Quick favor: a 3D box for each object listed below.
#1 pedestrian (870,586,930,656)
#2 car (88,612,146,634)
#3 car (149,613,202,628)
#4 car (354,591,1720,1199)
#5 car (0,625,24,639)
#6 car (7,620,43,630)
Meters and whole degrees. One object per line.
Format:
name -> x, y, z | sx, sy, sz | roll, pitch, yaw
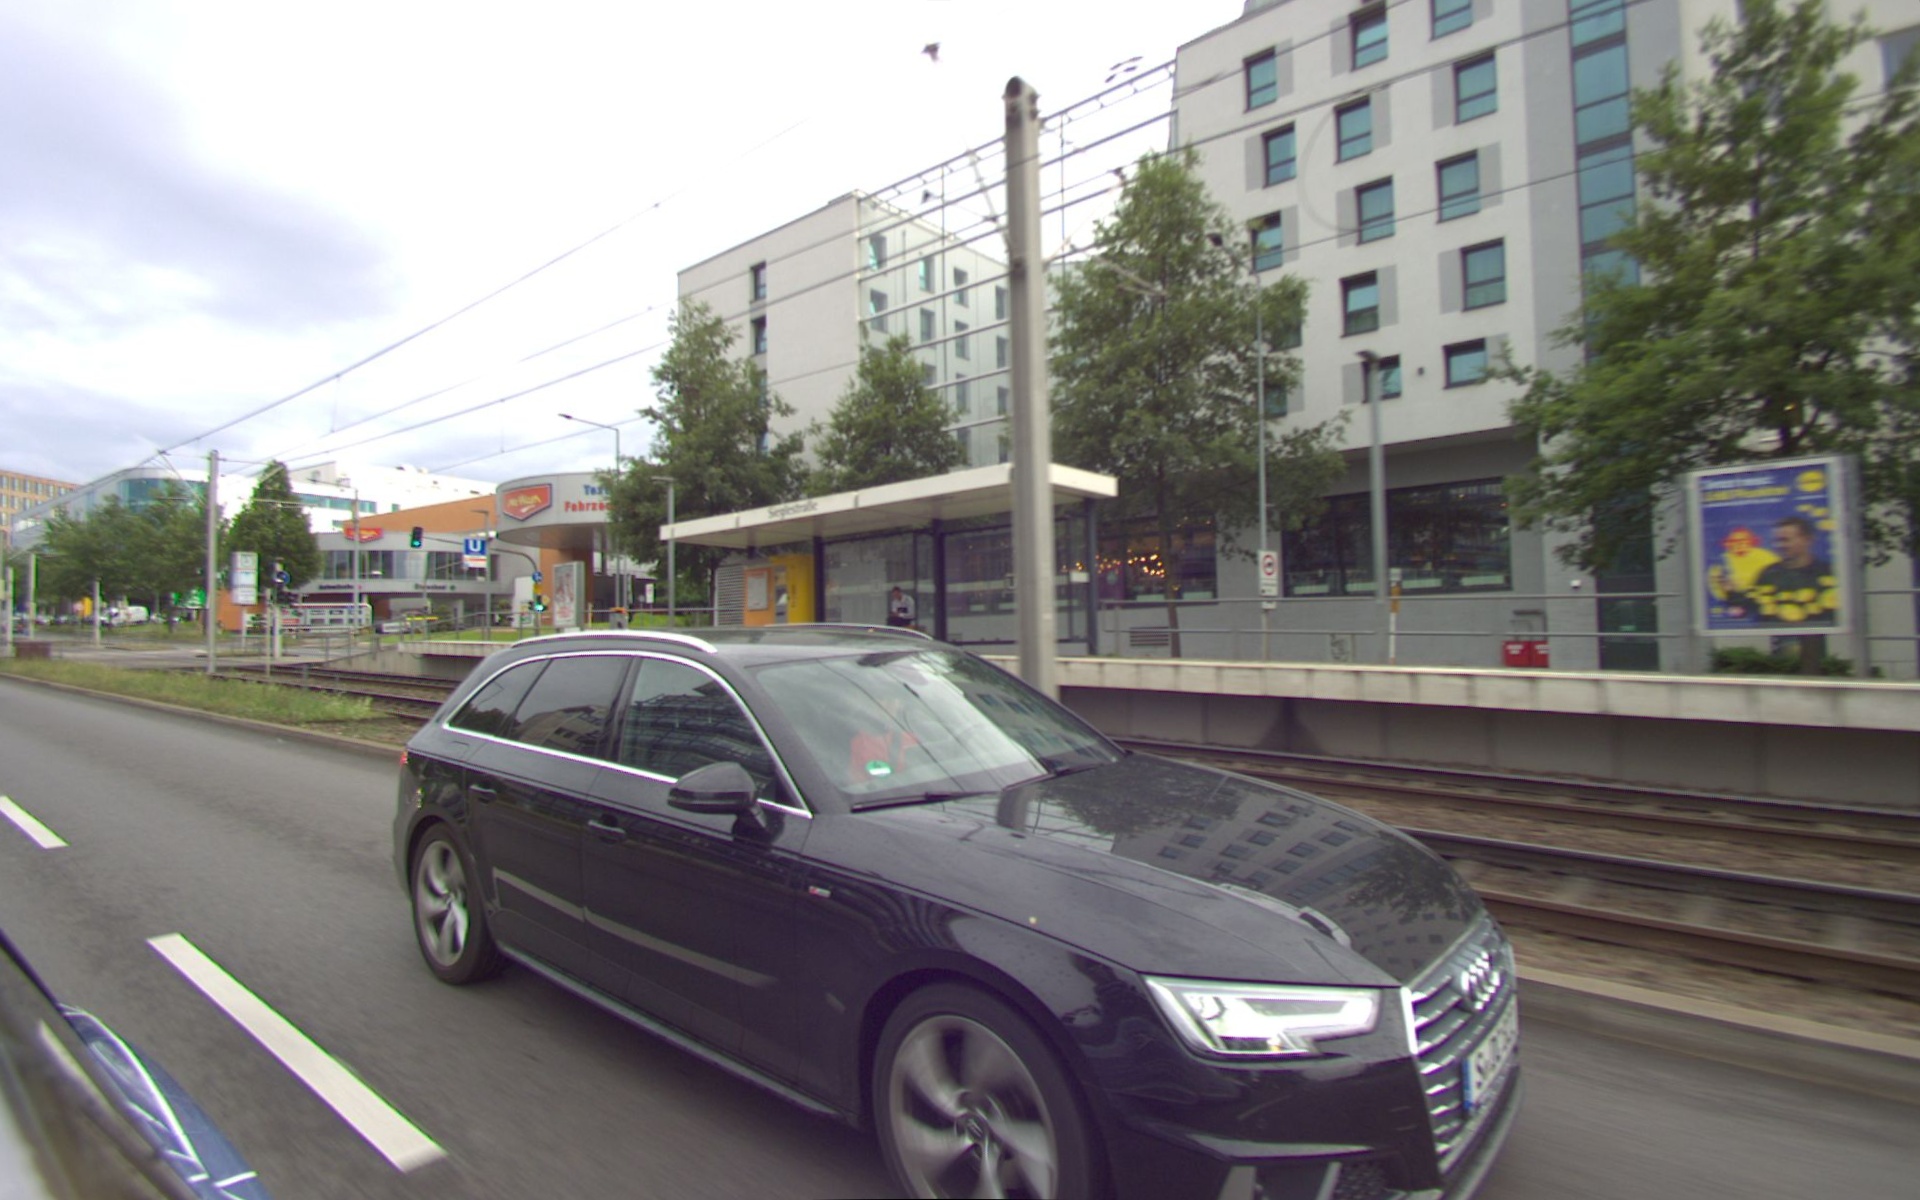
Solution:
pedestrian -> -1.149, 0.404, 19.388 | 0.684, 1.310, 0.951 | -1, -2, 40
car -> -110.807, 3.018, 133.075 | 2.263, 2.648, 5.446 | 0, 0, 21
car -> -107.586, 2.809, 138.847 | 2.272, 1.940, 5.424 | 0, 0, 32
car -> -0.373, 0.754, 3.636 | 4.827, 1.445, 1.771 | -1, -1, 42
car -> -99.773, 3.294, 106.190 | 3.775, 1.434, 1.711 | -1, -2, 39
car -> -149.298, 4.048, 161.664 | 1.810, 1.502, 3.817 | -1, -1, 20
